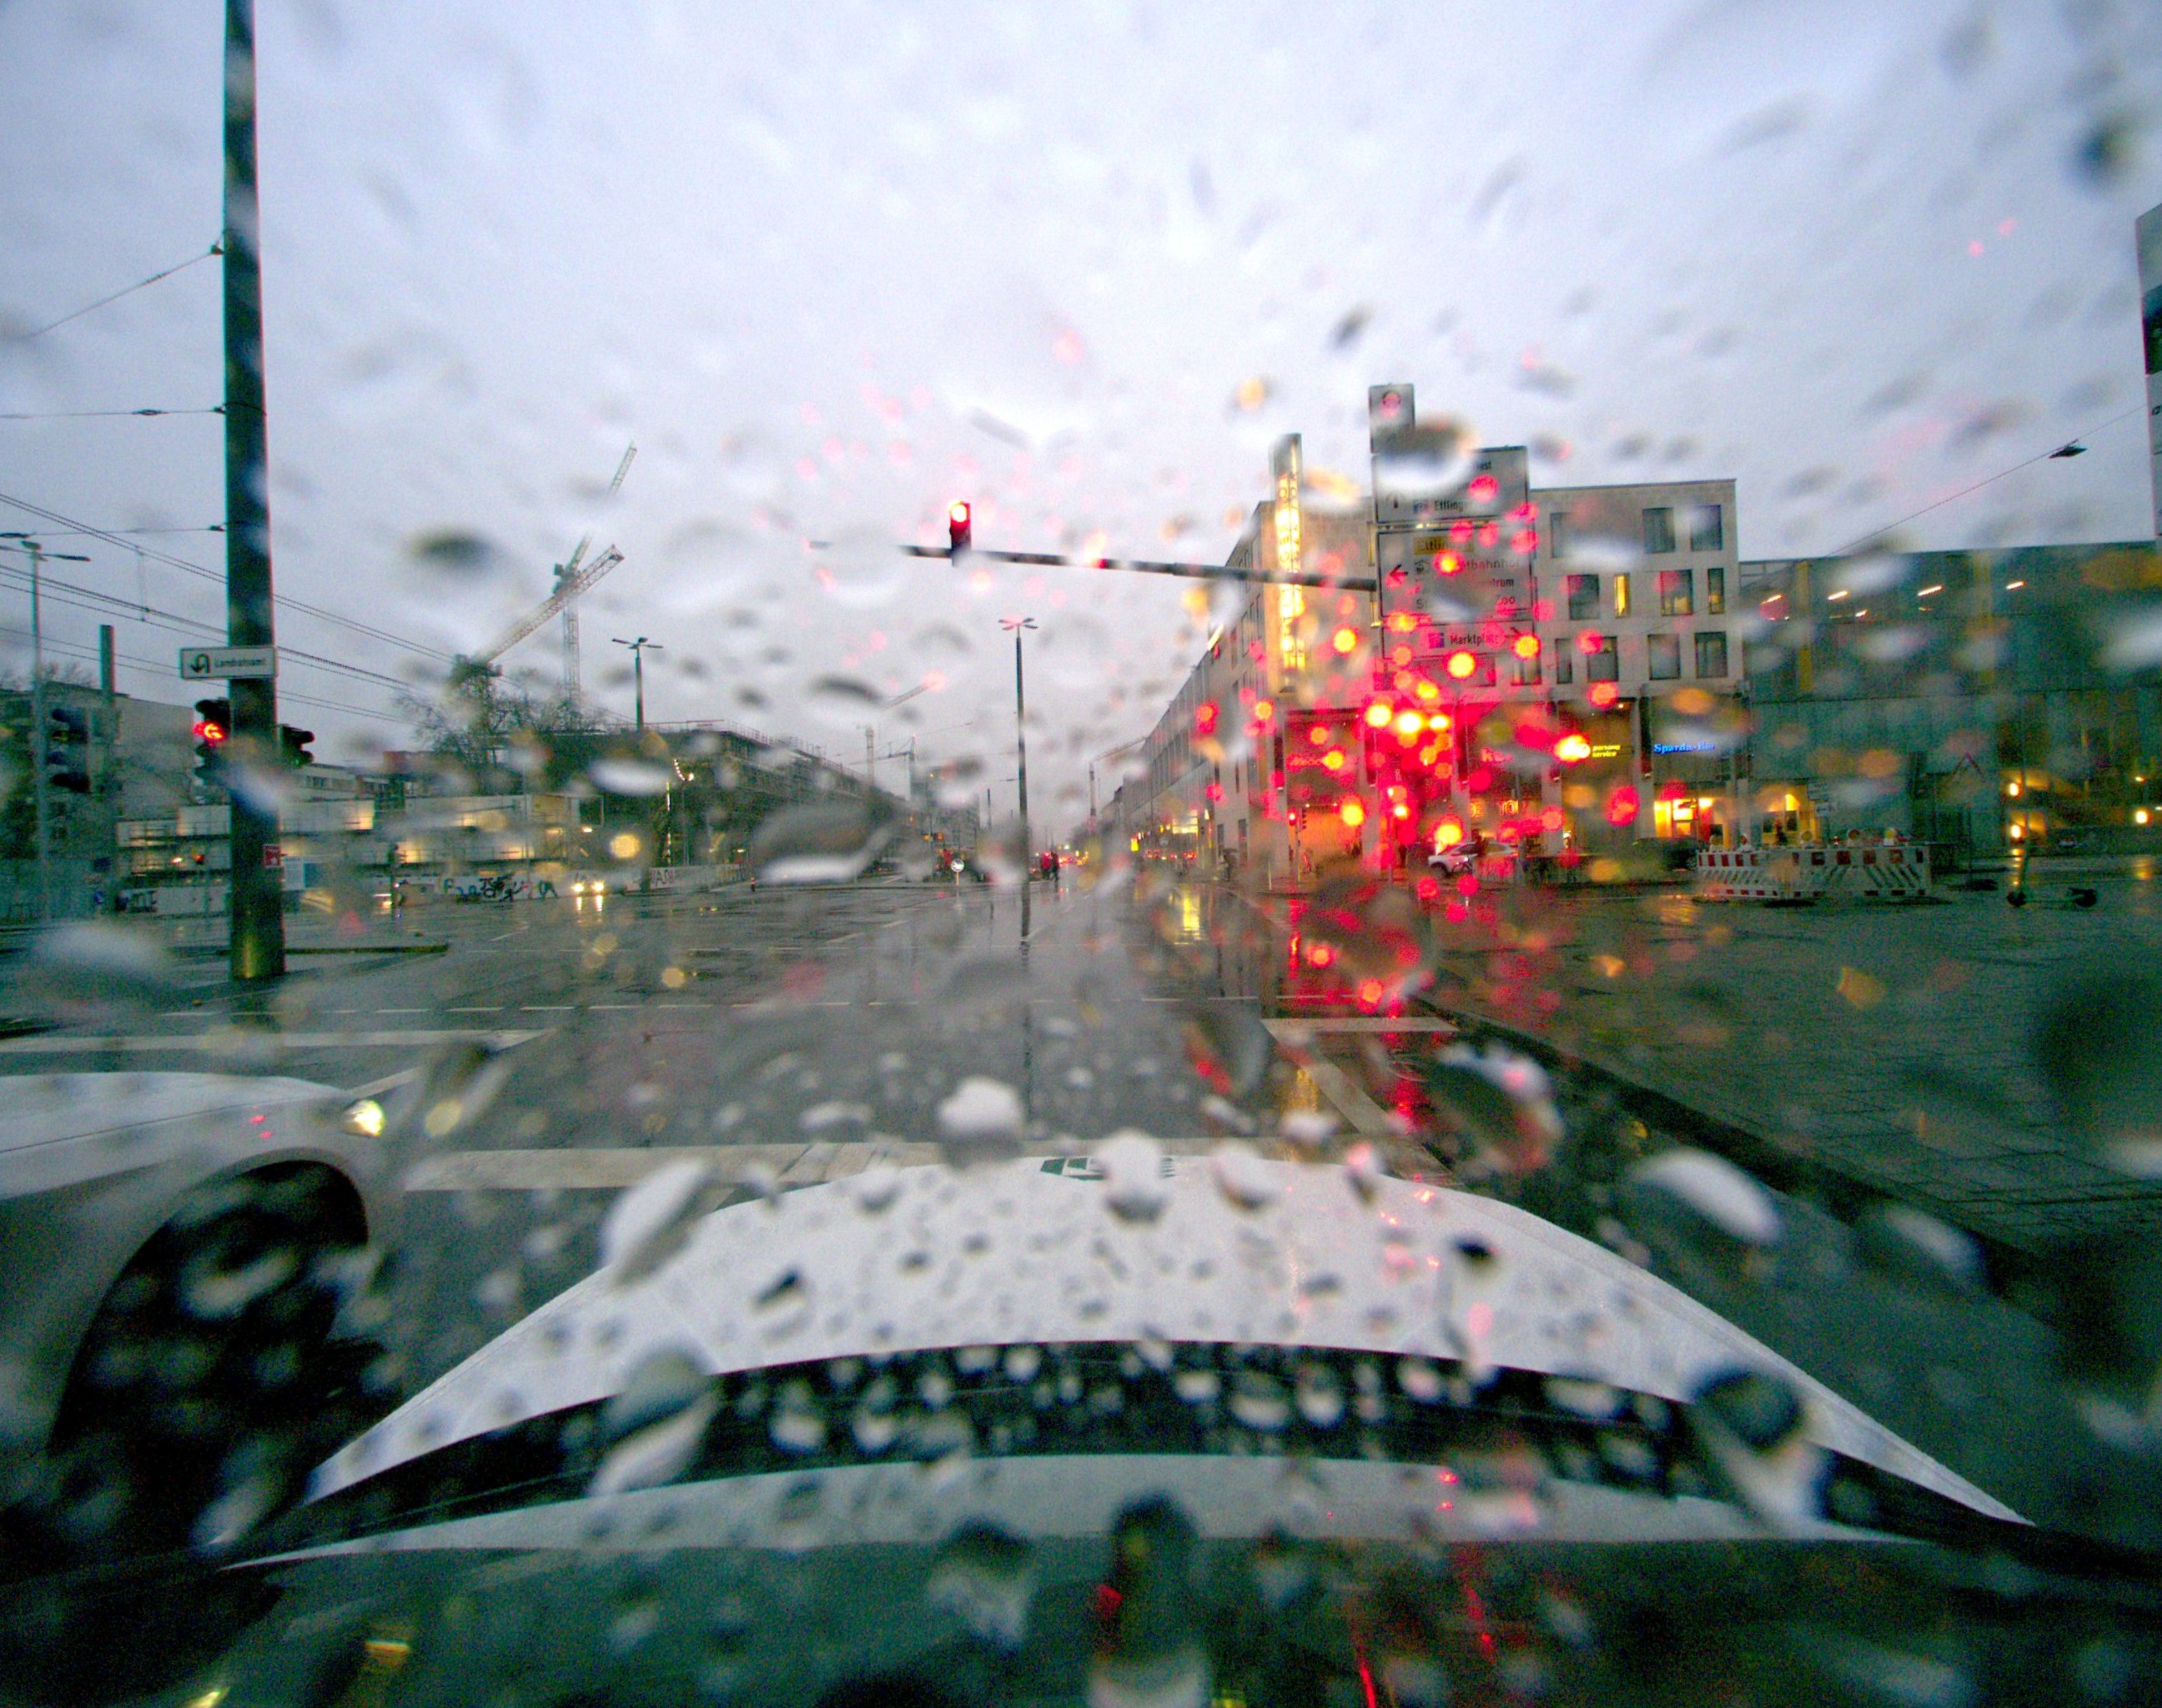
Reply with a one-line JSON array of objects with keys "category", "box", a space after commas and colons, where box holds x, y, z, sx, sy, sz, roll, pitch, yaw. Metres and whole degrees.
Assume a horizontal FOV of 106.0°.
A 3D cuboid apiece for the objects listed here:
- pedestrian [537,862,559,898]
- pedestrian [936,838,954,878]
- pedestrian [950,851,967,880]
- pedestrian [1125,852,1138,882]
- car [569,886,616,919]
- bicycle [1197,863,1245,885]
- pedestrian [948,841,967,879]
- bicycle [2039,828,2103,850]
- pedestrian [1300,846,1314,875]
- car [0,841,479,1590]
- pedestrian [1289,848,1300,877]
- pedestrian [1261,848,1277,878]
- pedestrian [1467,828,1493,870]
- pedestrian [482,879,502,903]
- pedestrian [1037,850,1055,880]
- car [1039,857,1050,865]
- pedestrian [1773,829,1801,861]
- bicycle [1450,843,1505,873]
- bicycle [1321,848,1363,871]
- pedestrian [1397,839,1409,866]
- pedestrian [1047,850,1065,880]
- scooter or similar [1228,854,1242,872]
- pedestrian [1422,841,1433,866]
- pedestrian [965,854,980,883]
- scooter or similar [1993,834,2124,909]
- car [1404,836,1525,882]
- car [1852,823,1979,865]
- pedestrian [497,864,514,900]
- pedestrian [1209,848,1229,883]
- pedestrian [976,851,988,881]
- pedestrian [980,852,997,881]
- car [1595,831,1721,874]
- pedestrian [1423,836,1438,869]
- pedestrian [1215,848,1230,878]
[{"category": "pedestrian", "box": [-30.904, 1.514, 47.246, 0.792, 2.014, 0.745, -2, -1, -9]}, {"category": "pedestrian", "box": [-7.291, 0.222, 43.619, 0.691, 2.087, 0.606, -2, -1, -39]}, {"category": "pedestrian", "box": [-7.087, 0.662, 47.063, 0.711, 1.619, 0.674, -2, -1, -28]}, {"category": "pedestrian", "box": [3.011, 0.751, 48.536, 0.700, 1.760, 0.652, -2, -1, 1]}, {"category": "car", "box": [-33.748, 3.318, 56.364, 1.760, 2.013, 3.977, -2, 0, -17]}, {"category": "bicycle", "box": [6.538, 0.936, 38.107, 2.120, 0.991, 0.542, -1, -1, 2]}, {"category": "pedestrian", "box": [-6.748, 0.330, 44.584, 0.781, 2.013, 0.606, -2, -1, -37]}, {"category": "bicycle", "box": [48.632, -0.735, 40.043, 0.613, 1.033, 2.138, -2, 0, 3]}, {"category": "pedestrian", "box": [13.563, 0.387, 48.882, 0.615, 1.760, 0.482, -2, -1, 1]}, {"category": "car", "box": [-3.180, 0.762, 0.479, 1.903, 1.520, 4.923, -2, 0, 0]}, {"category": "pedestrian", "box": [13.044, 0.510, 49.836, 0.510, 1.760, 0.374, -2, -1, 1]}, {"category": "pedestrian", "box": [11.038, 0.537, 47.807, 0.700, 1.760, 0.668, -2, -1, 1]}, {"category": "pedestrian", "box": [15.507, -0.203, 31.661, 0.775, 1.595, 0.616, -2, -1, 17]}, {"category": "pedestrian", "box": [-38.448, 2.428, 53.145, 0.638, 1.529, 0.801, -3, -1, 24]}, {"category": "pedestrian", "box": [-2.040, 0.645, 47.227, 0.824, 1.679, 0.622, -2, -1, 20]}, {"category": "car", "box": [-7.867, 1.563, 175.970, 1.881, 1.783, 3.715, -1, -1, 2]}, {"category": "pedestrian", "box": [36.094, -0.448, 41.639, 0.791, 1.631, 0.709, -1, -1, 1]}, {"category": "bicycle", "box": [15.401, 0.174, 31.681, 1.831, 1.093, 0.620, -2, -1, 16]}, {"category": "bicycle", "box": [16.198, 0.336, 50.550, 2.420, 1.329, 0.634, -2, 0, -4]}, {"category": "pedestrian", "box": [20.876, -0.081, 52.812, 0.530, 1.718, 0.505, -3, -1, 39]}, {"category": "pedestrian", "box": [-1.451, 0.653, 47.776, 0.836, 1.688, 0.680, -2, -1, 16]}, {"category": "scooter or similar", "box": [8.960, 0.511, 47.253, 0.736, 0.993, 0.402, -2, -1, 13]}, {"category": "pedestrian", "box": [23.775, -0.050, 55.840, 0.530, 1.718, 0.505, -3, -1, 39]}, {"category": "pedestrian", "box": [-6.161, 0.820, 46.243, 0.704, 1.619, 0.613, -2, -1, -1]}, {"category": "scooter or similar", "box": [15.746, 0.266, 13.159, 0.603, 1.130, 1.236, -2, 0, 2]}, {"category": "car", "box": [16.115, 0.208, 34.387, 4.283, 1.761, 1.709, -2, 0, 4]}, {"category": "car", "box": [34.646, -0.397, 33.861, 3.558, 1.582, 1.676, -2, -1, -1]}, {"category": "pedestrian", "box": [-32.423, 1.572, 45.874, 0.507, 2.014, 0.638, -3, -2, -9]}, {"category": "pedestrian", "box": [6.462, 0.533, 38.103, 0.811, 1.570, 0.536, -2, -1, 2]}, {"category": "pedestrian", "box": [-5.854, 0.714, 48.302, 0.617, 1.746, 0.612, -2, -1, -4]}, {"category": "pedestrian", "box": [-5.243, 0.711, 46.336, 0.806, 1.607, 0.746, -2, -1, 1]}, {"category": "car", "box": [23.946, -0.044, 33.875, 4.037, 1.582, 1.676, -2, -1, -1]}, {"category": "pedestrian", "box": [17.952, -0.072, 41.868, 0.530, 1.685, 0.552, -3, -1, 39]}, {"category": "pedestrian", "box": [8.240, 0.521, 47.413, 0.736, 1.667, 0.402, -2, -1, 13]}]
